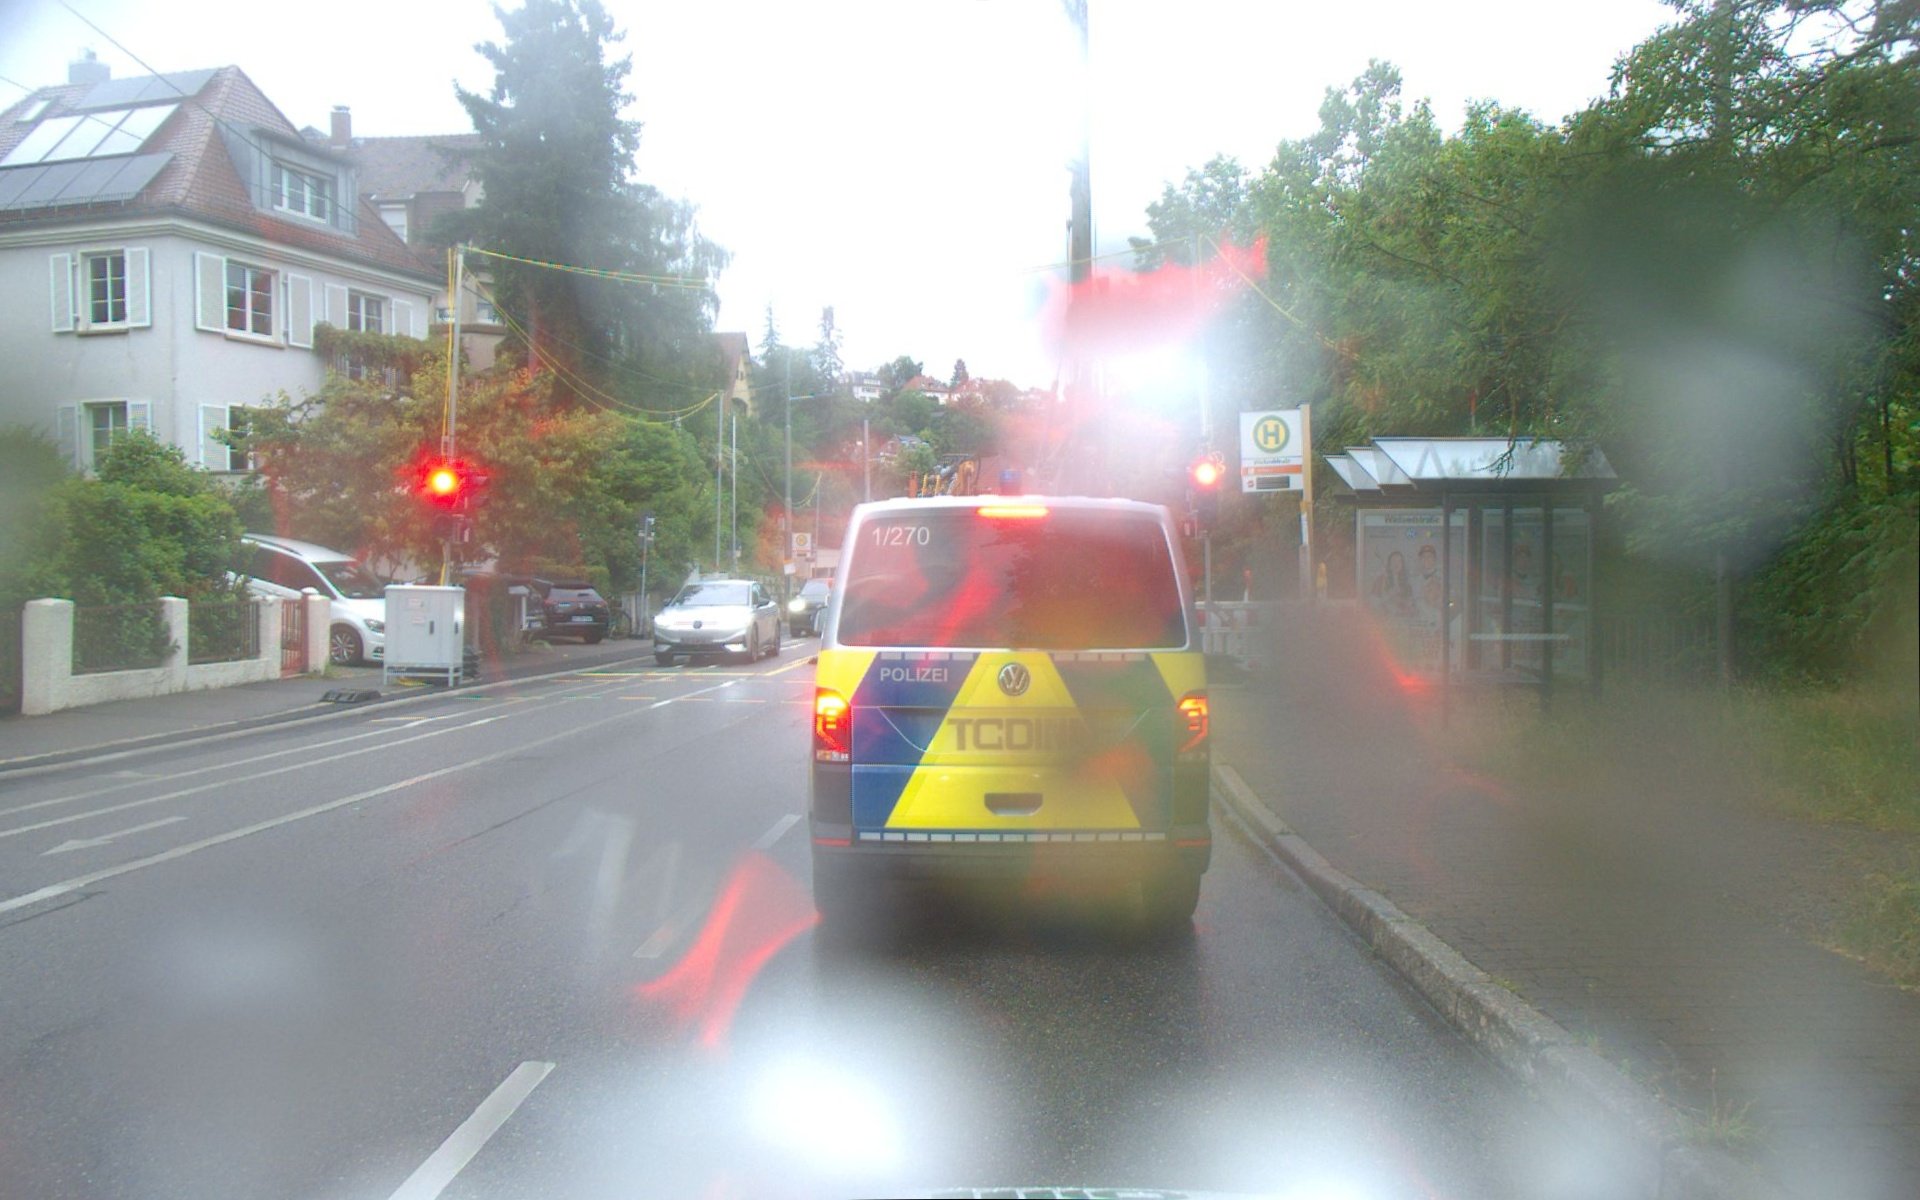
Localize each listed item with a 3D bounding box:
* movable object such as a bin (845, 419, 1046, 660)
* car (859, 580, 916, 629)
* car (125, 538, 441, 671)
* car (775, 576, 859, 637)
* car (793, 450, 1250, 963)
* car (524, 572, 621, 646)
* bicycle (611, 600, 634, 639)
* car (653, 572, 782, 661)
[{"bbox_3d":[-0.165,-1.103,31.638,2.770,4.250,4.384,1,0,14],"label":"movable object such as a bin"},{"bbox_3d":[-2.640,0.165,61.083,1.953,1.703,4.687,1,0,-1],"label":"car"},{"bbox_3d":[-11.208,0.049,27.490,4.532,2.042,1.902,1,0,11],"label":"car"},{"bbox_3d":[-4.024,0.174,47.169,1.828,1.650,4.166,1,0,3],"label":"car"},{"bbox_3d":[0.228,0.430,8.820,1.855,2.086,3.999,1,0,-1],"label":"car"},{"bbox_3d":[-8.909,0.167,37.828,1.739,1.512,3.721,1,2,-20],"label":"car"},{"bbox_3d":[-8.052,0.457,39.454,0.455,0.913,1.628,0,0,-15],"label":"bicycle"},{"bbox_3d":[-4.606,0.306,32.031,1.815,1.554,4.819,1,0,-1],"label":"car"}]
